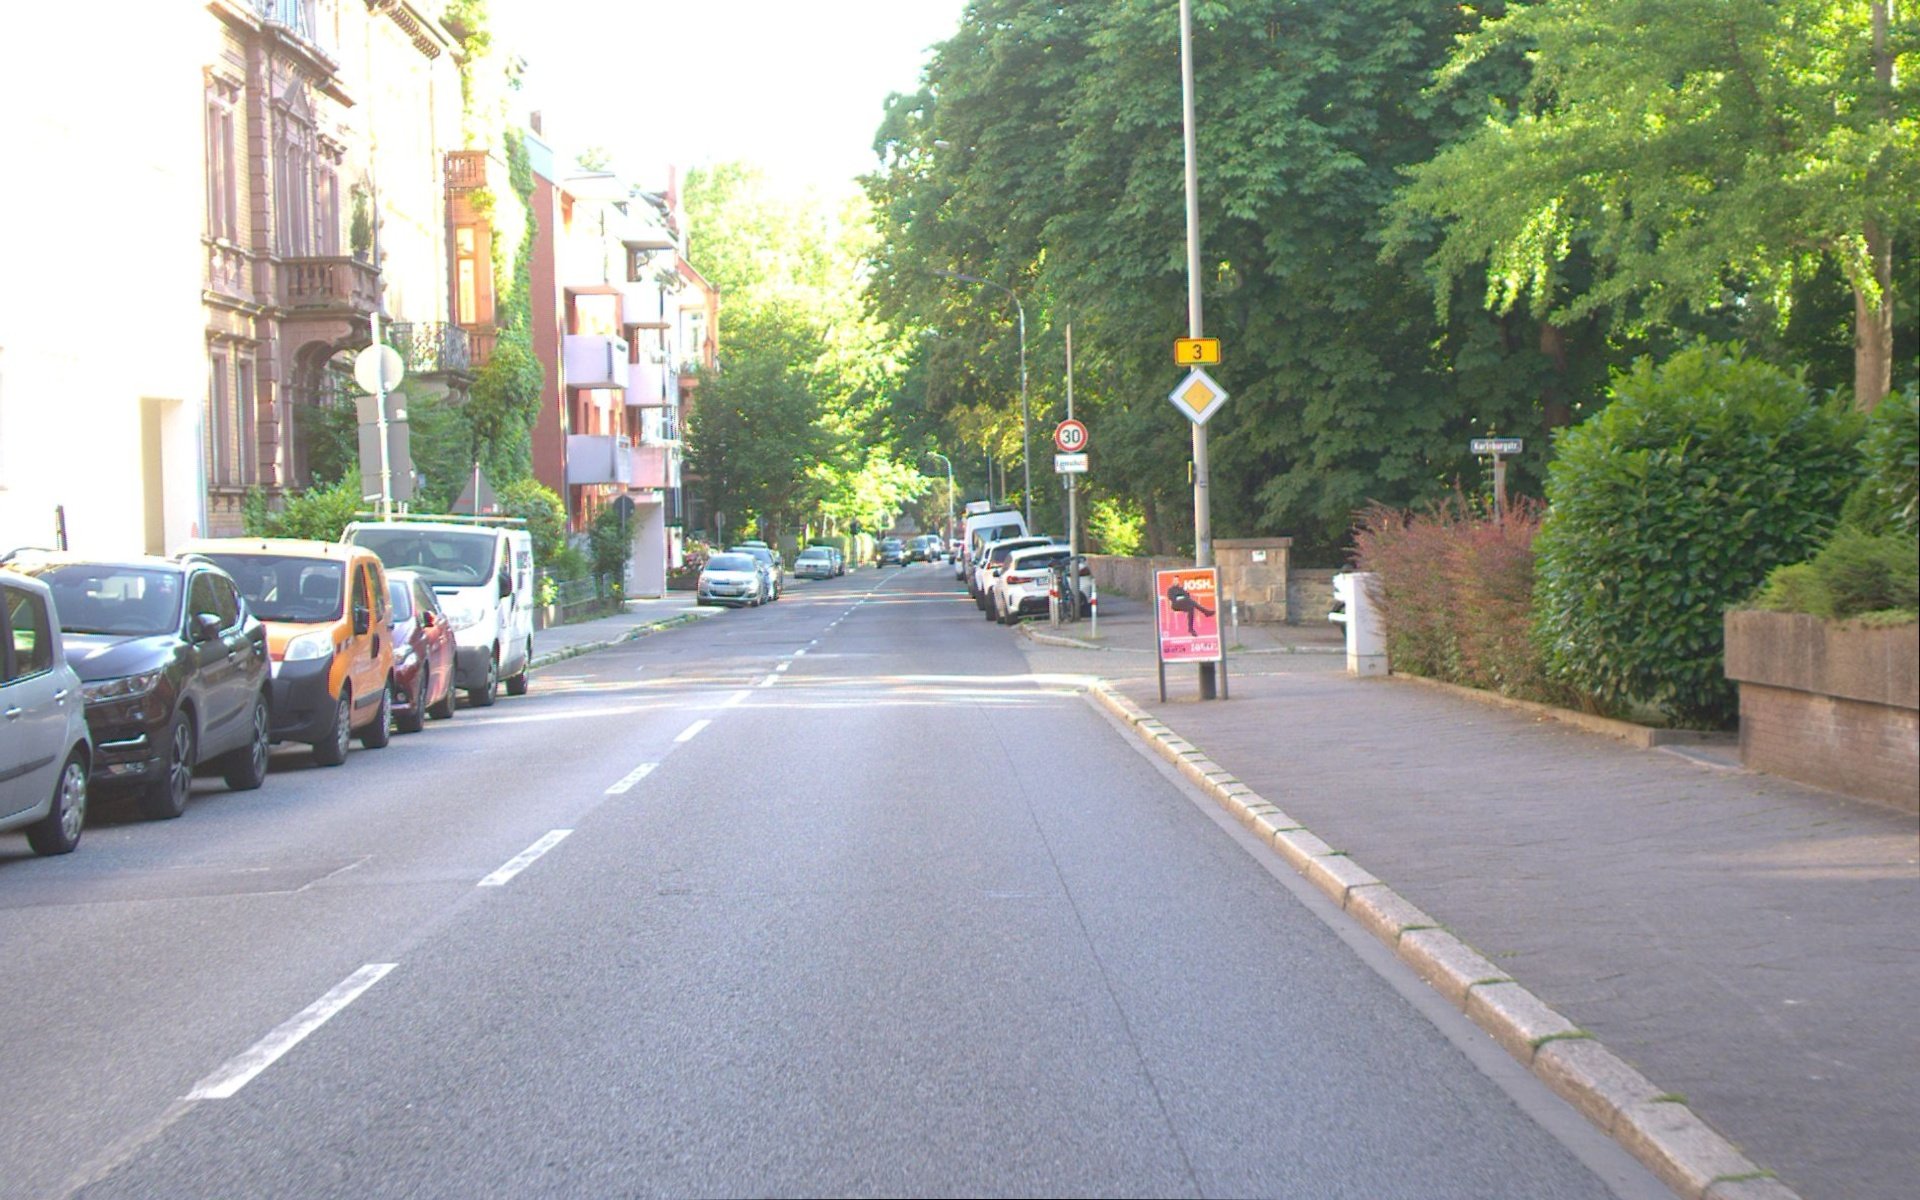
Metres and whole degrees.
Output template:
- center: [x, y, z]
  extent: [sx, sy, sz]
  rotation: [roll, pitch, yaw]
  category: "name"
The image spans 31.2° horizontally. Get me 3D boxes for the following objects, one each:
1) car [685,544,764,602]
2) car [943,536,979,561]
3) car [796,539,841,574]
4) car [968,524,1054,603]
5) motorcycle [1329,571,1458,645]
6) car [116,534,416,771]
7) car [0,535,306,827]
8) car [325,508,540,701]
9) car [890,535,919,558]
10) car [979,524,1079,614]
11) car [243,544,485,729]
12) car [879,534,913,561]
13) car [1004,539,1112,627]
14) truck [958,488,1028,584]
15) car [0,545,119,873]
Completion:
- center: [-6.792, -0.792, 99.617]
  extent: [1.993, 1.486, 4.471]
  rotation: [-2, 2, -1]
  category: "car"
- center: [0.062, -3.364, 223.576]
  extent: [1.993, 1.486, 4.471]
  rotation: [-2, 2, -4]
  category: "car"
- center: [-6.804, -2.112, 166.133]
  extent: [1.993, 1.486, 4.471]
  rotation: [-2, 2, -1]
  category: "car"
- center: [1.243, -0.912, 83.617]
  extent: [1.993, 1.731, 4.000]
  rotation: [-2, 2, 1]
  category: "car"
- center: [6.650, 0.116, 52.826]
  extent: [1.906, 1.108, 0.790]
  rotation: [0, 2, 2]
  category: "motorcycle"
- center: [-5.426, 0.349, 27.298]
  extent: [1.702, 1.732, 3.857]
  rotation: [0, 1, -2]
  category: "car"
- center: [-5.561, 0.440, 22.496]
  extent: [1.702, 1.702, 4.441]
  rotation: [0, 1, 0]
  category: "car"
- center: [-5.776, -0.011, 38.142]
  extent: [1.792, 2.003, 4.698]
  rotation: [0, 1, -2]
  category: "car"
- center: [-3.899, -3.772, 241.413]
  extent: [1.993, 1.486, 4.471]
  rotation: [-2, 2, -1]
  category: "car"
- center: [1.456, -0.683, 72.782]
  extent: [1.993, 1.731, 4.000]
  rotation: [-2, 2, 1]
  category: "car"
- center: [-5.600, 0.291, 32.724]
  extent: [1.702, 1.614, 4.118]
  rotation: [0, 1, -2]
  category: "car"
- center: [-3.930, -3.276, 212.650]
  extent: [1.993, 1.486, 4.471]
  rotation: [-2, 2, -1]
  category: "car"
- center: [1.896, -0.361, 67.108]
  extent: [1.993, 1.512, 4.000]
  rotation: [-2, 2, 1]
  category: "car"
- center: [1.007, -2.043, 108.358]
  extent: [1.993, 2.887, 4.471]
  rotation: [-2, 2, -1]
  category: "truck"
- center: [-5.521, 0.524, 17.347]
  extent: [1.702, 1.578, 3.635]
  rotation: [0, 1, -1]
  category: "car"
